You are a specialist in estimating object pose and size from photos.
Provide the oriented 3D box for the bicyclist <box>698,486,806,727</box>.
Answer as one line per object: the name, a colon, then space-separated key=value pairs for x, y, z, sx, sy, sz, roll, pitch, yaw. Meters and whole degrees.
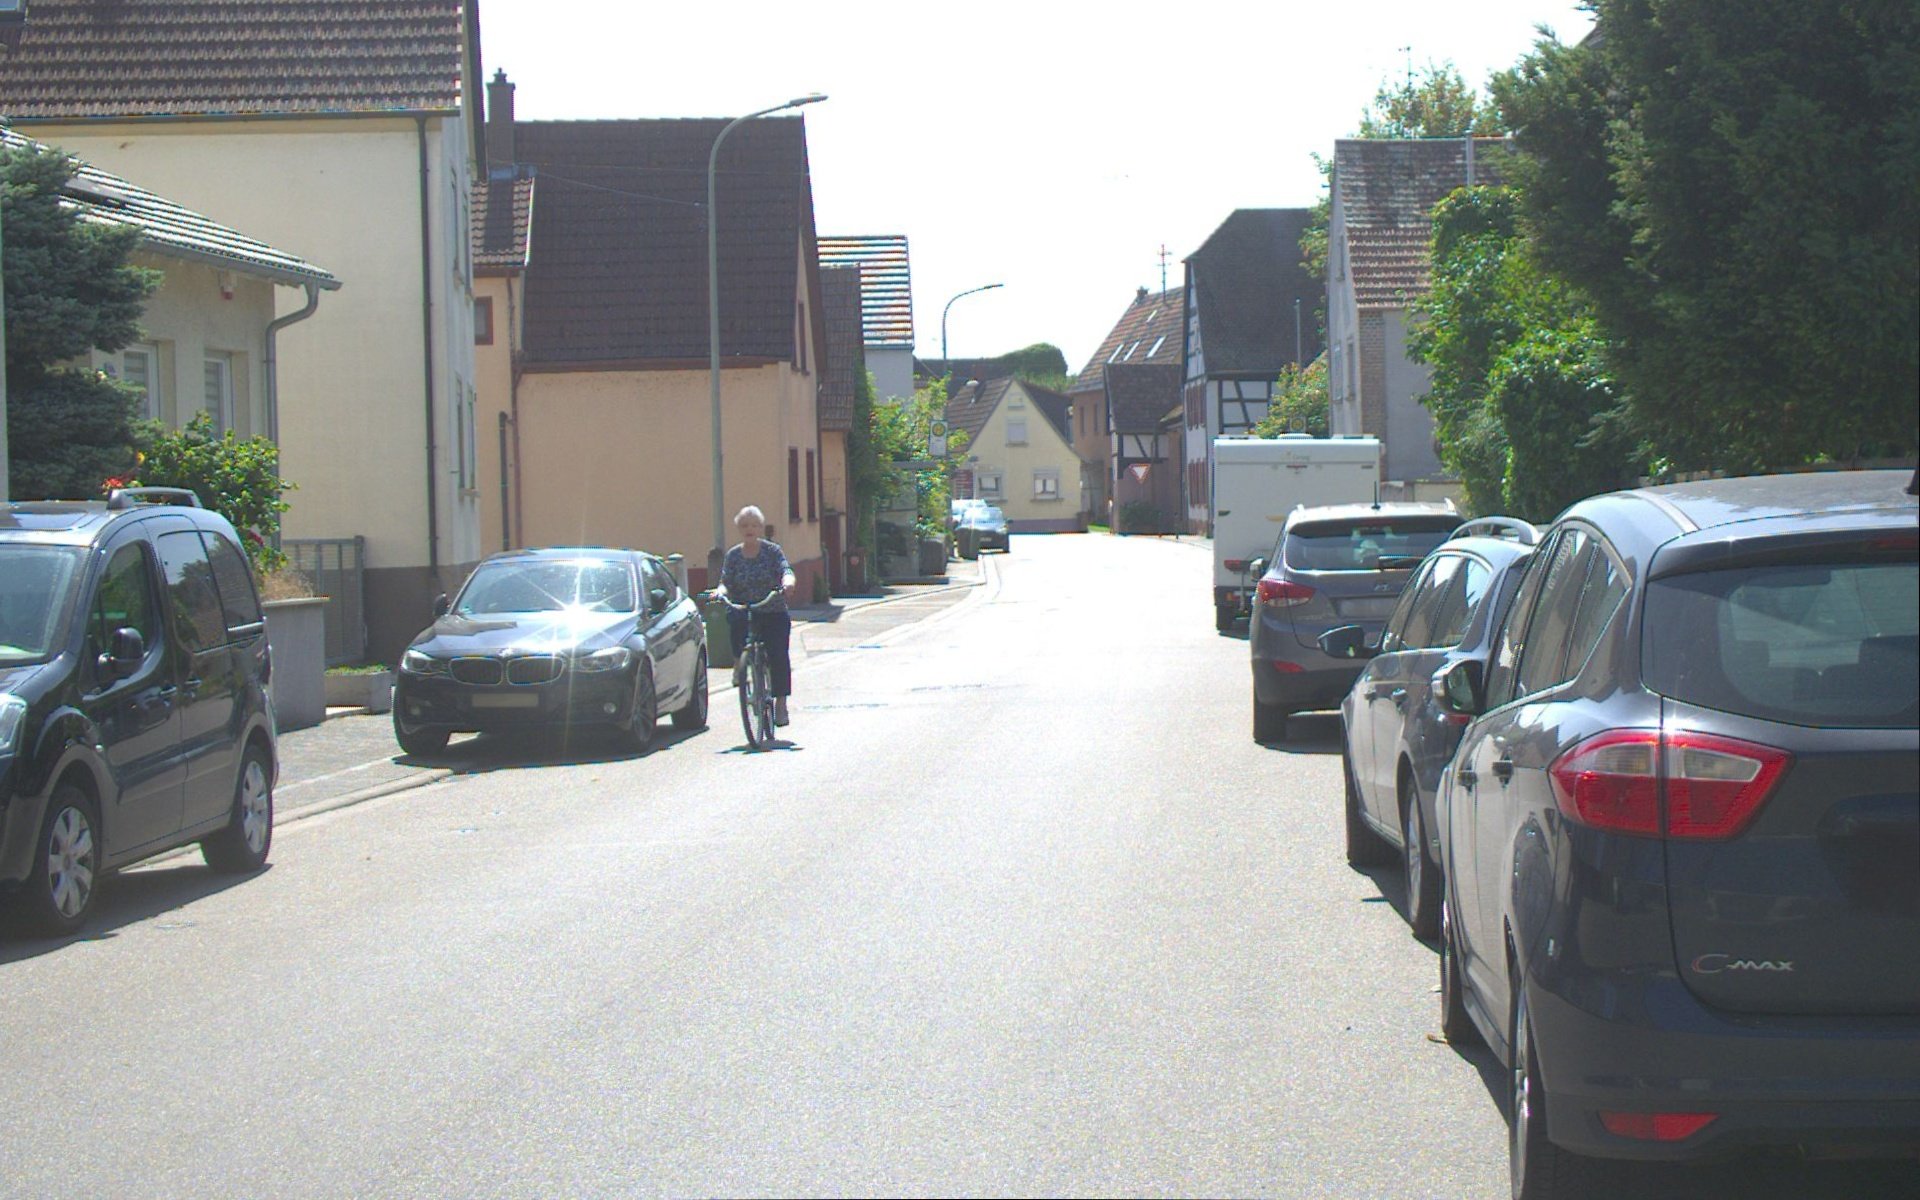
bicyclist: x=-1.555 y=0.044 z=25.826 sx=0.703 sy=1.765 sz=0.625 roll=-2 pitch=1 yaw=0

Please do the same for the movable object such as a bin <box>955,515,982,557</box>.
movable object such as a bin: x=0.242 y=-1.877 z=100.305 sx=0.688 sy=1.181 sz=0.714 roll=-2 pitch=1 yaw=4

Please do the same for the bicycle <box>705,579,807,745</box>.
bicycle: x=-1.522 y=0.441 z=25.857 sx=0.589 sy=1.144 sz=1.949 roll=-2 pitch=1 yaw=1

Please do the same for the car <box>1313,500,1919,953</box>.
car: x=2.502 y=0.380 z=14.027 sx=1.819 sy=1.503 sz=4.581 roll=-2 pitch=1 yaw=3

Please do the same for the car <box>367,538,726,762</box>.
car: x=-3.098 y=0.315 z=26.750 sx=1.844 sy=1.521 sz=4.765 roll=-1 pitch=1 yaw=5

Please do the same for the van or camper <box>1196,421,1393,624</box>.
van or camper: x=4.691 y=-1.105 z=48.906 sx=2.522 sy=2.687 sz=4.555 roll=-2 pitch=1 yaw=3

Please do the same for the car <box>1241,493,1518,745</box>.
car: x=3.075 y=0.067 z=25.190 sx=1.794 sy=1.625 sz=4.360 roll=-2 pitch=2 yaw=7

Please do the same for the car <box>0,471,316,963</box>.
car: x=-4.322 y=0.410 z=15.003 sx=1.835 sy=1.831 sz=4.353 roll=-2 pitch=1 yaw=5

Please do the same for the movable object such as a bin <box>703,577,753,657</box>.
movable object such as a bin: x=-2.820 y=0.204 z=41.852 sx=0.539 sy=0.946 sz=0.553 roll=0 pitch=1 yaw=4

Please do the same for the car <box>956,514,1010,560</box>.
car: x=0.776 y=-2.070 z=112.496 sx=1.512 sy=1.431 sz=3.511 roll=-2 pitch=1 yaw=4

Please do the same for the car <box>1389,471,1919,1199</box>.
car: x=2.128 y=0.475 z=8.762 sx=1.798 sy=1.555 sz=4.631 roll=-1 pitch=1 yaw=4
